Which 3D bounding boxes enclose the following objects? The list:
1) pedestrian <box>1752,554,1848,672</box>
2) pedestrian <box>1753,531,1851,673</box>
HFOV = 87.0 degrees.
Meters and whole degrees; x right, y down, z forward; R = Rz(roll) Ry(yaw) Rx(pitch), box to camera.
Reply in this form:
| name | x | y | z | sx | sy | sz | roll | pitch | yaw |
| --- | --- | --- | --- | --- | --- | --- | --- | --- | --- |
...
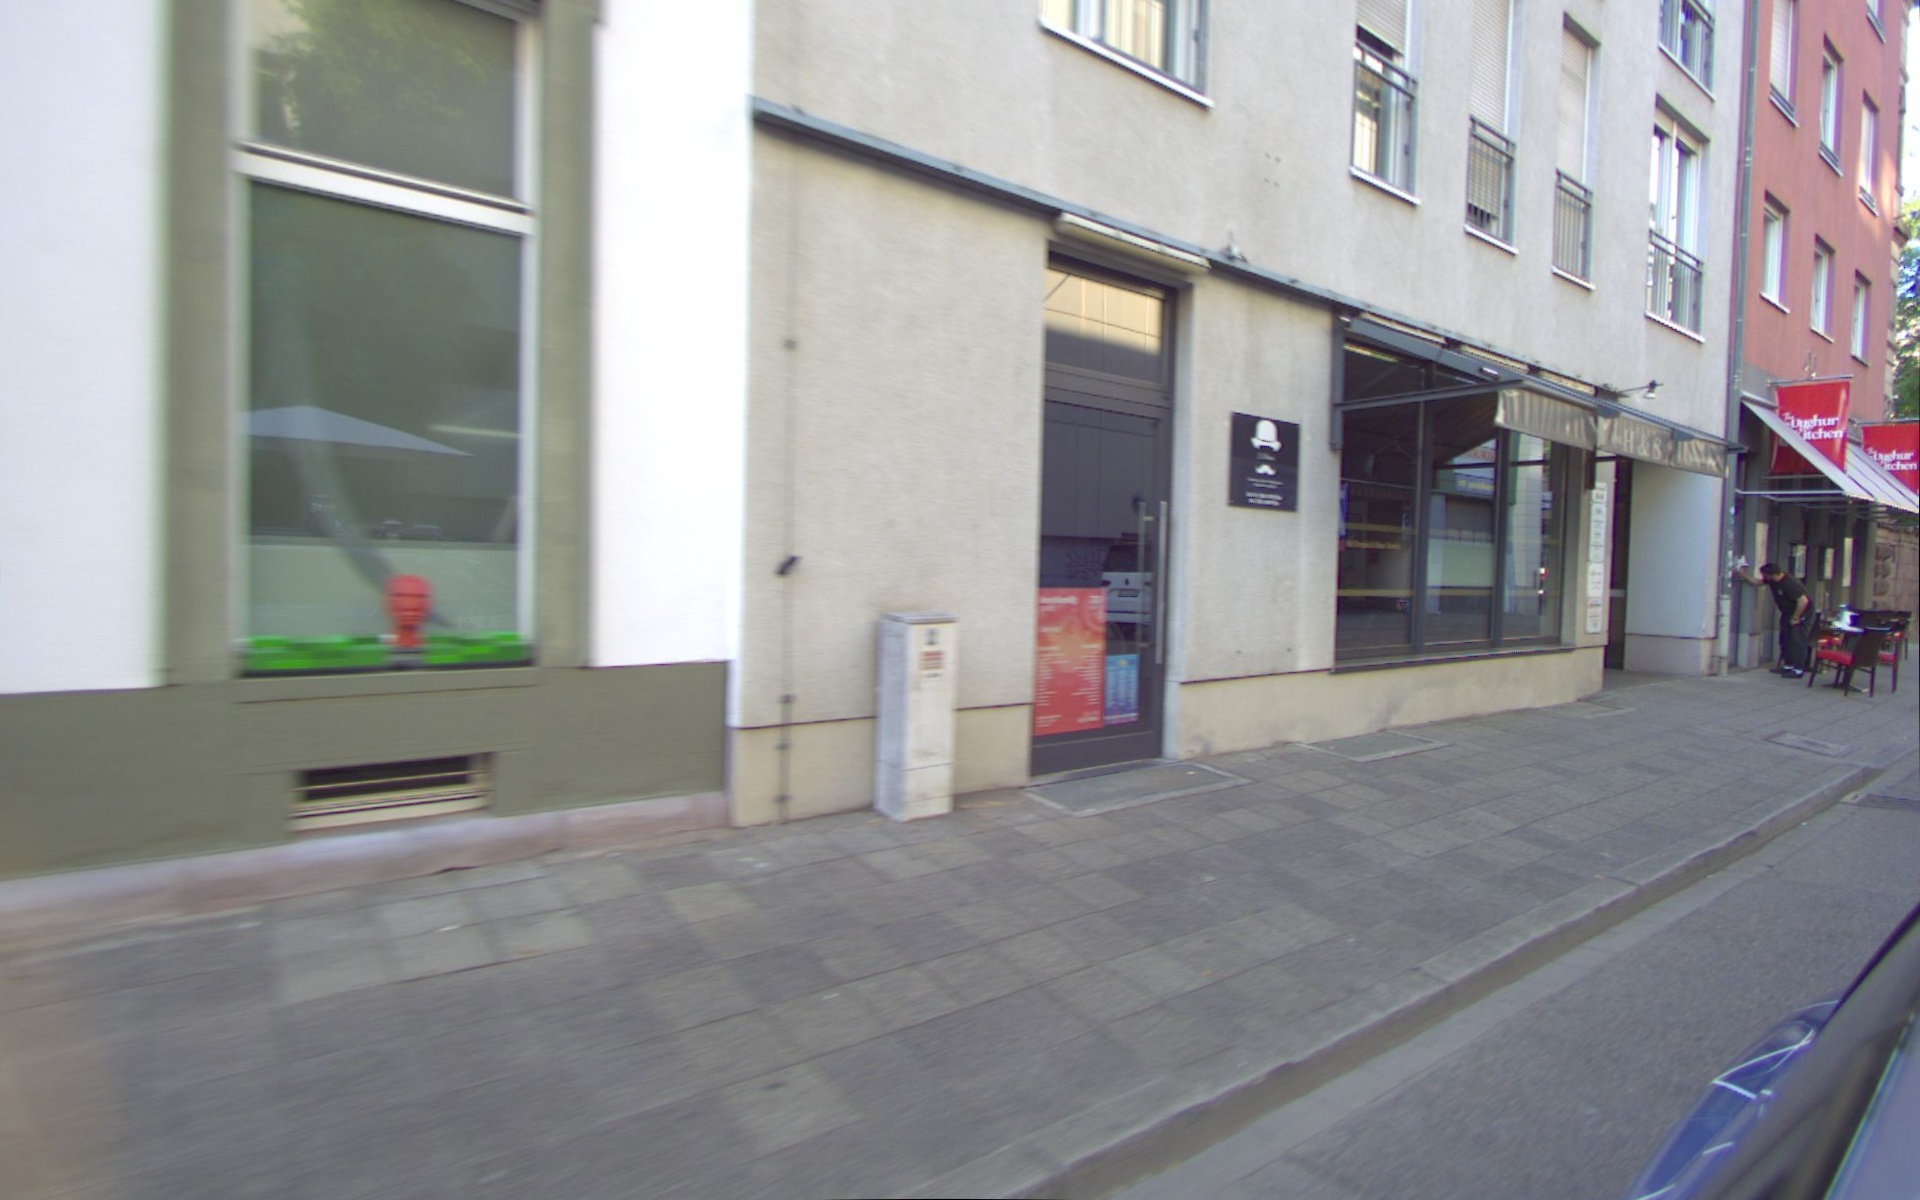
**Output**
| name | x | y | z | sx | sy | sz | roll | pitch | yaw |
| --- | --- | --- | --- | --- | --- | --- | --- | --- | --- |
| pedestrian | 11.250 | 0.149 | 13.567 | 0.649 | 1.504 | 0.827 | 0 | 3 | -39 |
| pedestrian | 11.238 | 0.001 | 13.537 | 0.652 | 1.813 | 0.726 | 5 | 4 | 21 |
